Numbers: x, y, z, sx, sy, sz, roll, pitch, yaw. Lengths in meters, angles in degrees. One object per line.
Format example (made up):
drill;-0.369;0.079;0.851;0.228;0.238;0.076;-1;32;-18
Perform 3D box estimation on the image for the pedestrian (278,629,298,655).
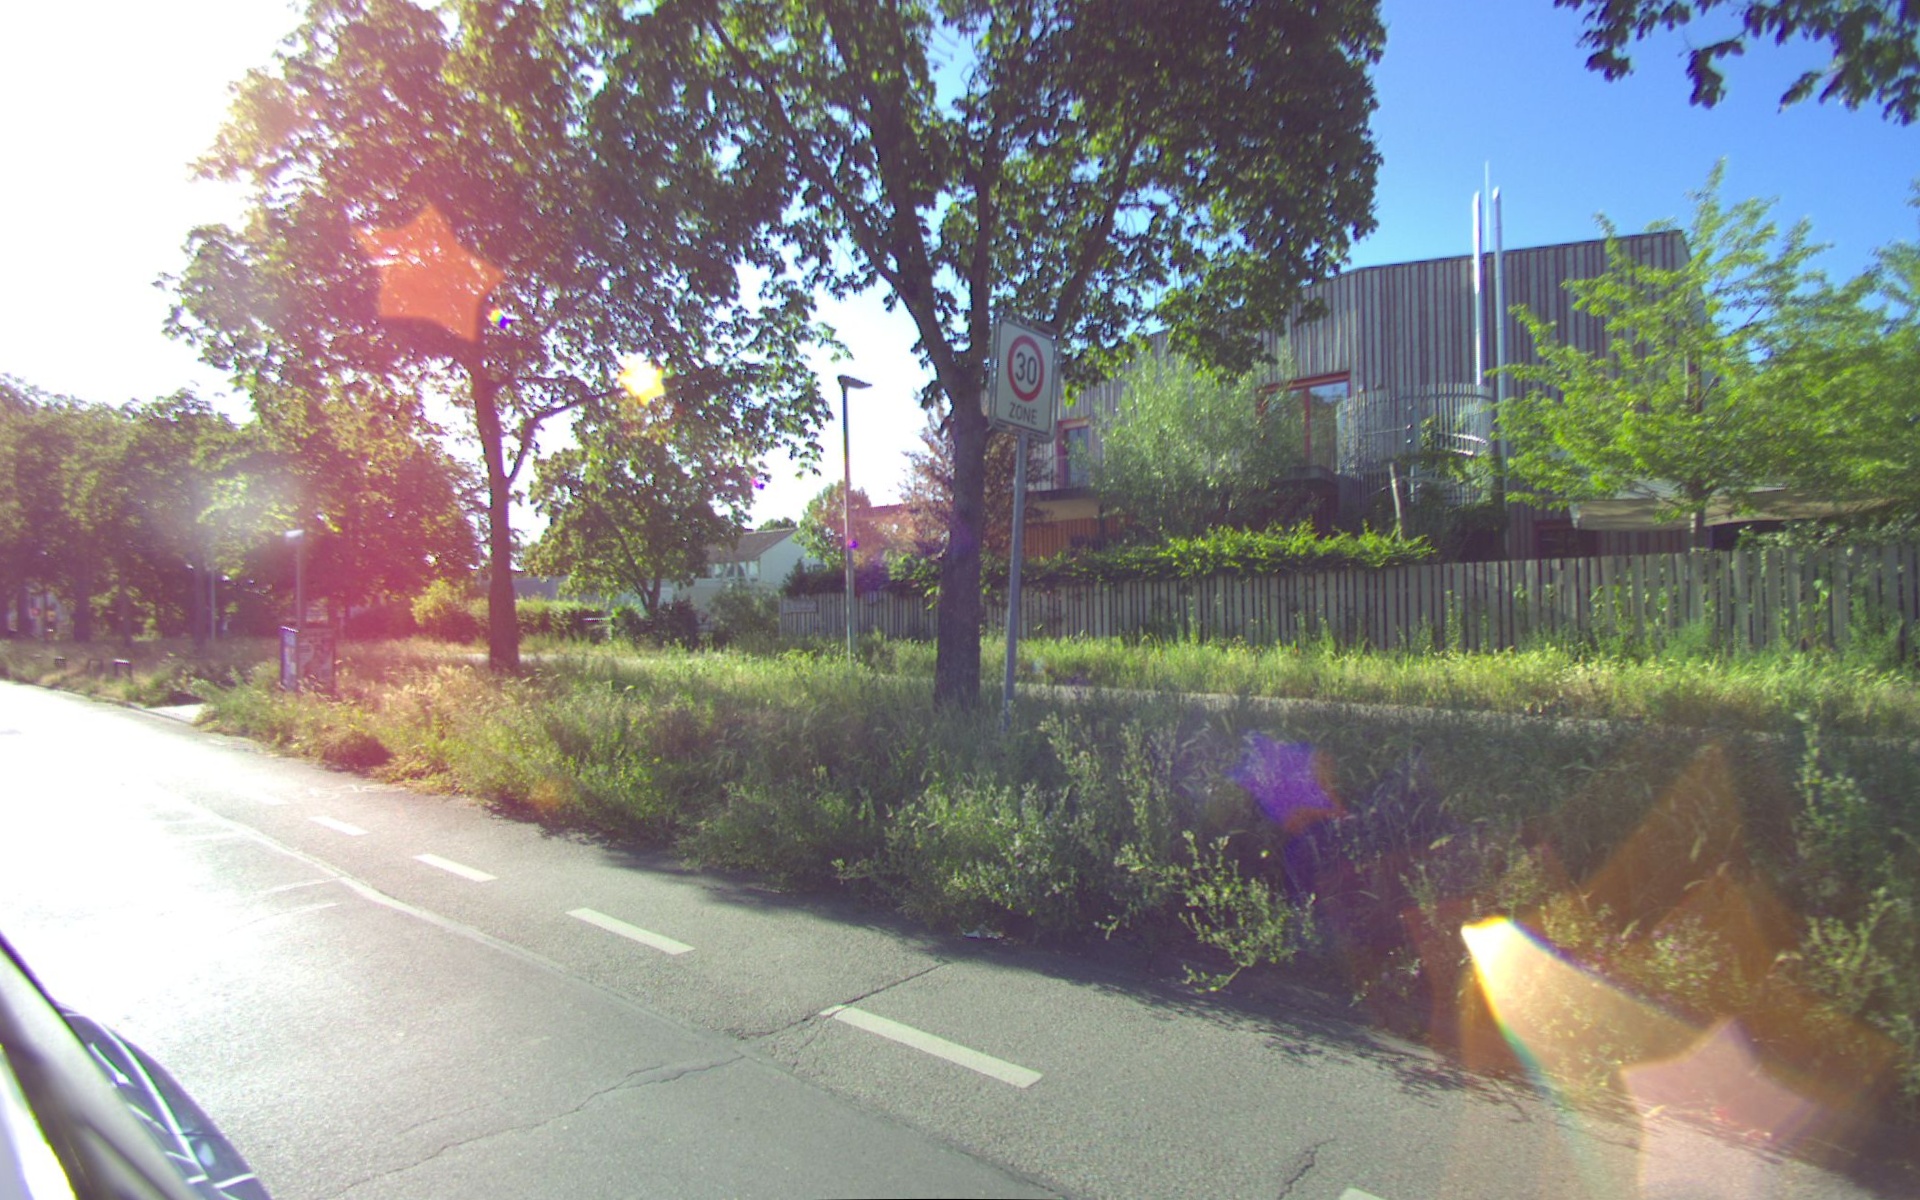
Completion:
pedestrian;-31.337;1.960;47.189;0.521;1.166;0.631;-2;2;39
